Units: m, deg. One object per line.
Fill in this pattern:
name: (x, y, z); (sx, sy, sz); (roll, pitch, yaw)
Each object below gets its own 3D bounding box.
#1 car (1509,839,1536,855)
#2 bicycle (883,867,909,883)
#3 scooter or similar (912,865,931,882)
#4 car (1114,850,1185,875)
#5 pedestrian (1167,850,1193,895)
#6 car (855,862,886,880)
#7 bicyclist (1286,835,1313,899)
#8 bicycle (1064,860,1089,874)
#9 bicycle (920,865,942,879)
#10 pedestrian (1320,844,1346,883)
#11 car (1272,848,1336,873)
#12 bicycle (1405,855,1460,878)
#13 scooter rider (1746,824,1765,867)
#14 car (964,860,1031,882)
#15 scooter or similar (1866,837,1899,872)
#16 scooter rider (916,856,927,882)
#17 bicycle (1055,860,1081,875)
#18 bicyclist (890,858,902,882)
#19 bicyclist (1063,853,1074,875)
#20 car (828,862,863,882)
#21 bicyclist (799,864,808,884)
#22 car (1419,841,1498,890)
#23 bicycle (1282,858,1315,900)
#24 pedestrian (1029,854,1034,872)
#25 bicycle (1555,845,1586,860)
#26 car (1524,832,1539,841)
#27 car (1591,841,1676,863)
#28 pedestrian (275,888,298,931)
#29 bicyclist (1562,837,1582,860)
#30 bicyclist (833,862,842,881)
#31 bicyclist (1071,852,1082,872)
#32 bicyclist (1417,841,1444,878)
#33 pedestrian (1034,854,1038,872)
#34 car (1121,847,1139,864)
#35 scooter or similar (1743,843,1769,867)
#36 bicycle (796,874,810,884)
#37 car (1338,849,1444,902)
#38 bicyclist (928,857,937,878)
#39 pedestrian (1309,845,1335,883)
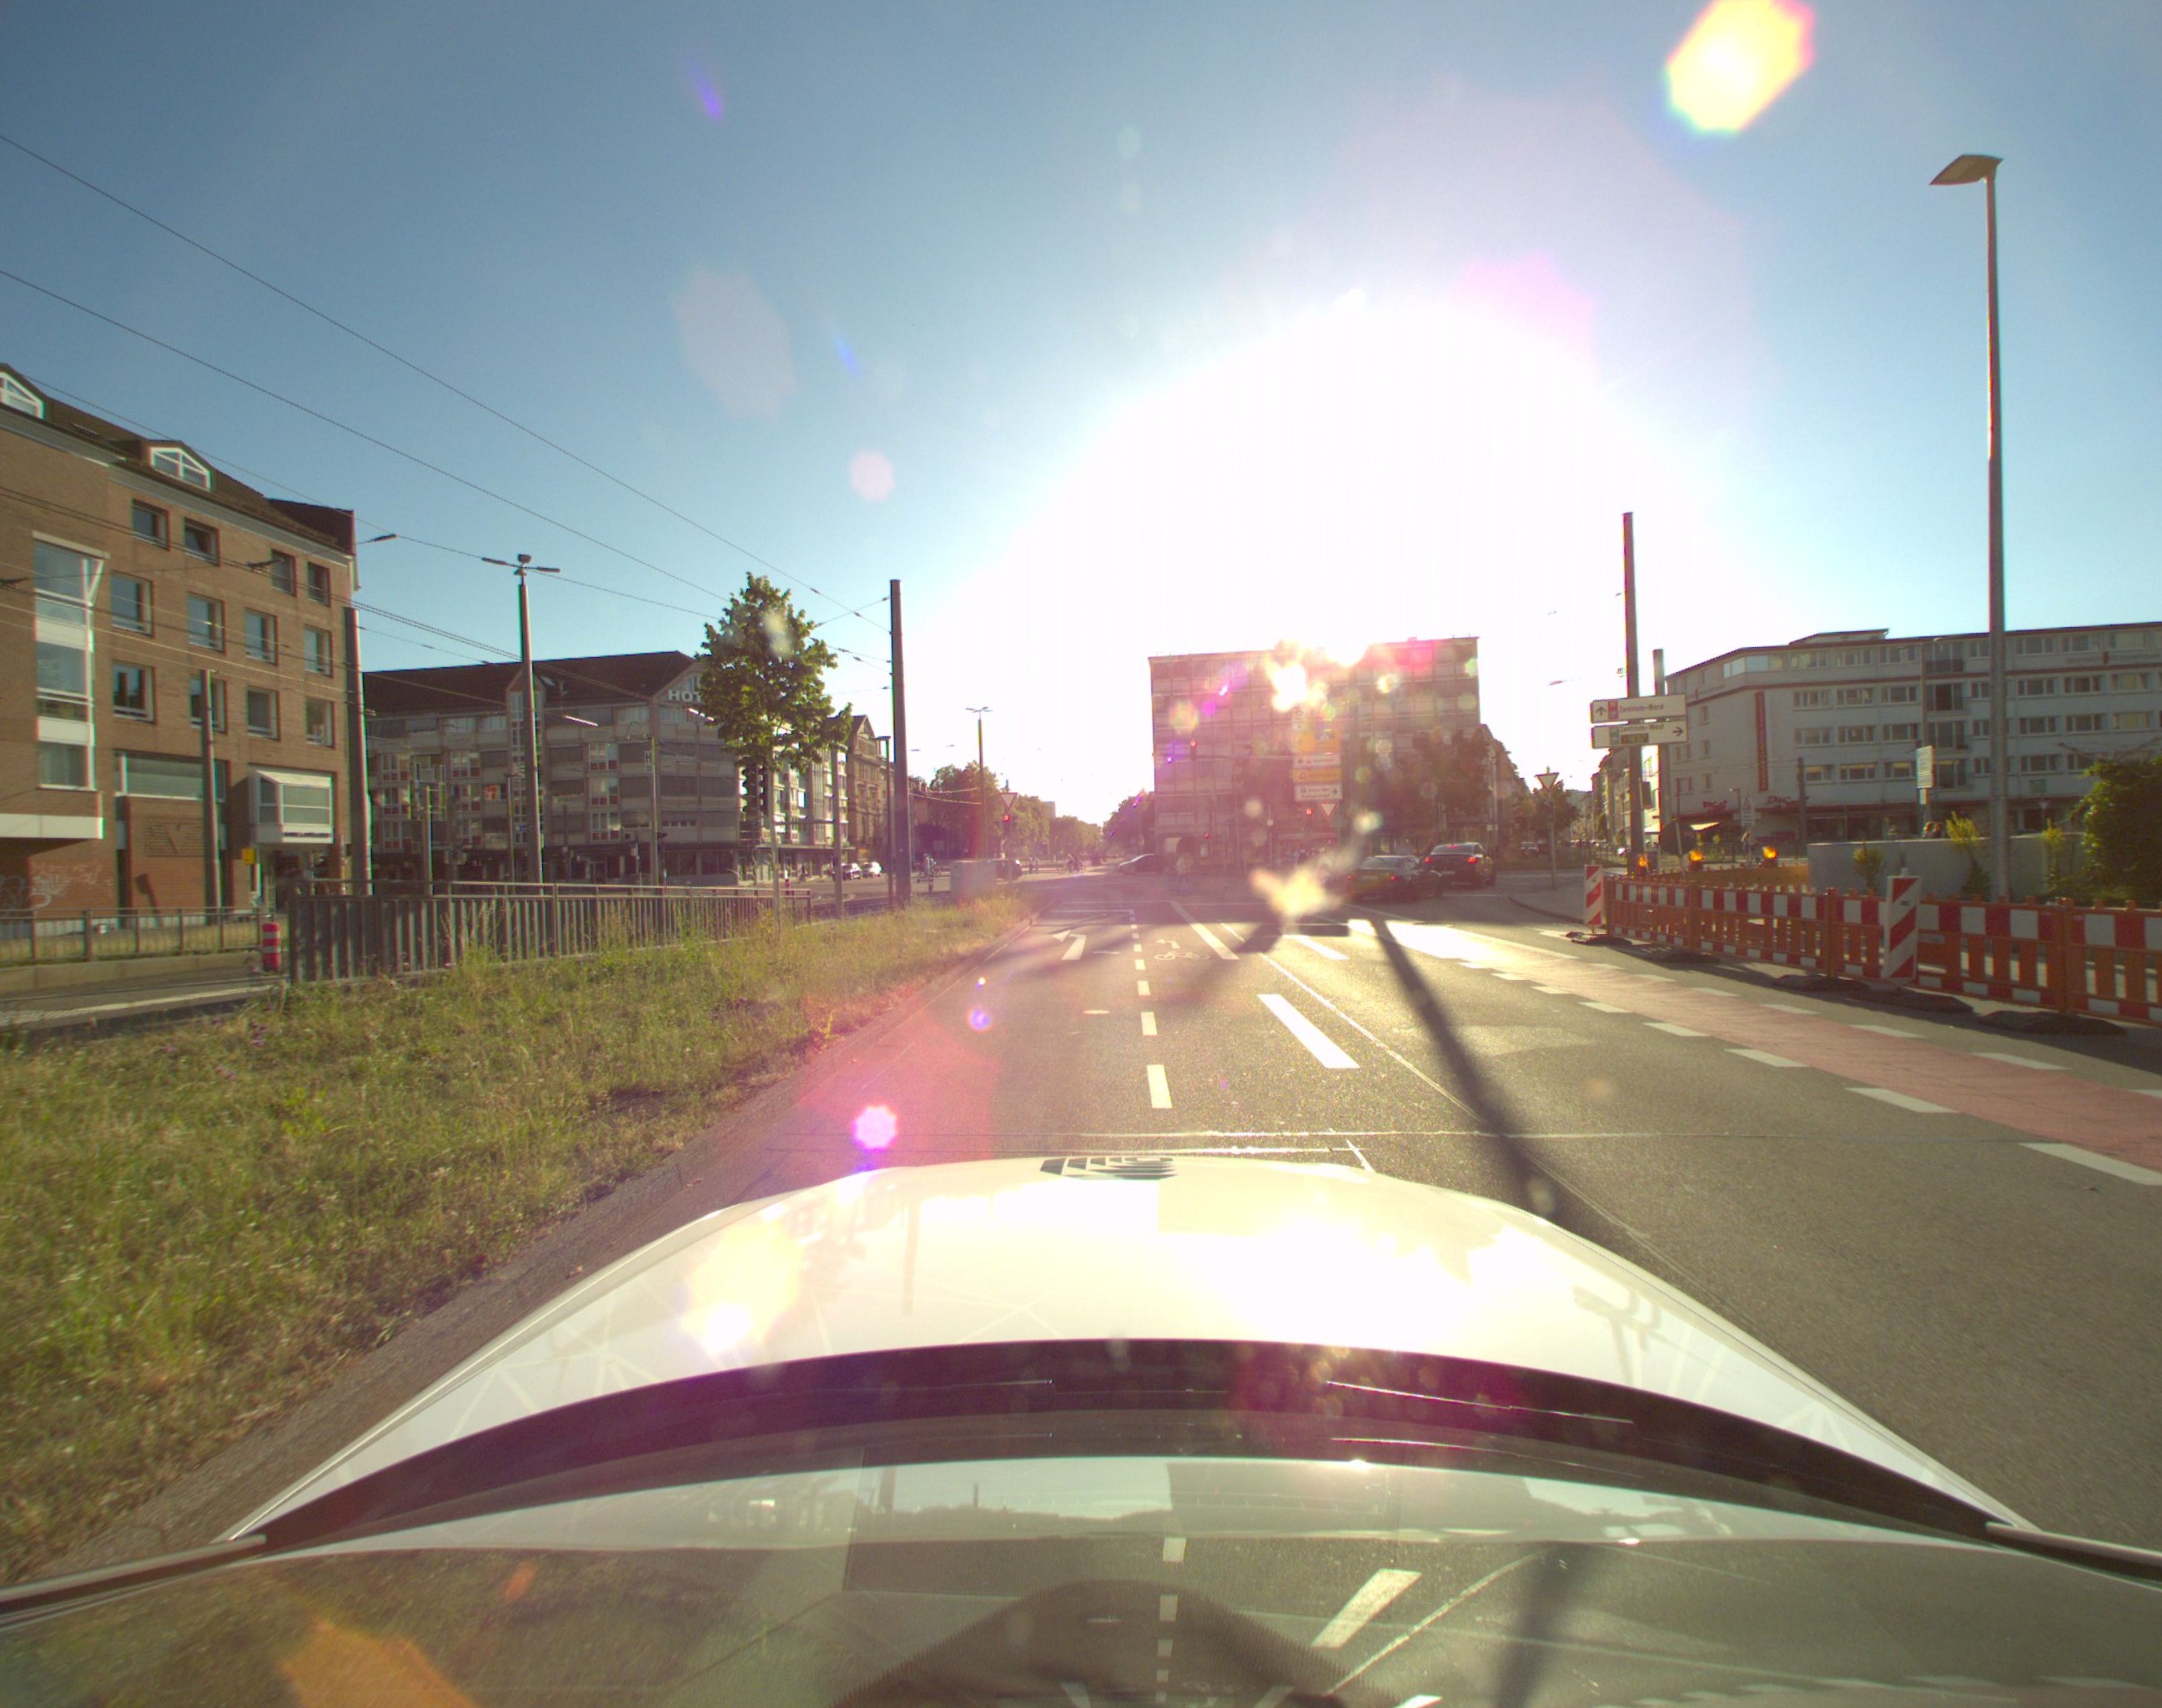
car: (43.417, -0.709, 80.106); (1.975, 1.398, 4.023); (-3, 0, 24)
bicycle: (-13.261, 1.489, 58.415); (1.774, 1.072, 0.534); (-2, 0, -8)
scooter or similar: (-10.963, 1.348, 55.992); (1.170, 1.072, 0.528); (-2, 0, -7)
car: (4.928, 0.616, 58.843); (4.762, 1.596, 1.994); (-2, 0, -9)
pedestrian: (3.654, 0.668, 30.113); (0.875, 1.597, 0.656); (-2, 0, 2)
car: (-23.270, 1.838, 90.232); (1.984, 1.860, 4.006); (-2, 0, 5)
bicyclist: (7.002, 0.410, 26.172); (0.641, 2.013, 1.068); (0, 1, 3)
bicycle: (-0.419, 1.190, 74.186); (2.168, 1.137, 0.658); (-2, 0, -2)
bicycle: (-12.163, 1.430, 66.118); (1.730, 1.059, 0.538); (-2, 0, -8)
pedestrian: (10.749, 0.409, 34.768); (0.875, 1.597, 0.655); (-2, 0, 0)
car: (16.189, 0.454, 59.286); (4.305, 1.596, 2.006); (-2, 0, 10)
bicycle: (16.318, 0.578, 37.866); (2.215, 1.026, 0.683); (-2, 0, 5)
scooter rider: (30.497, -0.380, 36.819); (0.536, 1.920, 0.496); (-2, 0, -33)
car: (-5.558, 1.138, 54.066); (4.017, 1.288, 1.827); (-2, 0, -35)
scooter or similar: (30.114, 0.020, 30.606); (0.563, 1.259, 1.352); (-2, 0, 32)
scooter rider: (-10.975, 1.022, 55.999); (0.663, 1.712, 0.525); (-2, 0, -7)
bicycle: (-1.047, 1.117, 67.266); (2.088, 1.137, 0.658); (-2, 0, -2)
bicyclist: (-13.263, 1.123, 58.414); (0.663, 1.712, 0.537); (-2, 0, -7)
bicyclist: (-1.042, 0.809, 67.269); (0.896, 1.753, 0.654); (-2, 0, -2)
car: (-23.767, 1.787, 82.269); (1.984, 1.860, 4.006); (-2, 0, 5)
bicyclist: (-26.637, 1.940, 78.211); (0.590, 1.862, 0.642); (-2, 0, 4)
car: (14.273, 0.367, 30.673); (1.974, 1.693, 4.026); (0, 1, 35)
bicycle: (6.996, 0.776, 26.262); (0.642, 1.223, 2.050); (0, 2, 3)
pedestrian: (-4.318, 0.791, 71.447); (0.365, 1.508, 0.542); (-2, 0, -4)
bicycle: (38.039, -0.129, 63.270); (1.967, 1.098, 0.677); (-2, 0, -2)
car: (72.925, -2.828, 131.879); (1.974, 1.398, 4.025); (-3, 0, 29)
car: (40.448, -0.147, 59.771); (4.876, 1.479, 2.011); (-2, 0, 23)
pedestrian: (-34.250, 2.374, 35.124); (0.495, 1.807, 0.546); (-3, 0, 30)
bicyclist: (38.174, -0.412, 63.306); (1.037, 1.739, 0.677); (-2, 0, -2)
bicyclist: (-25.731, 1.837, 86.158); (0.599, 2.013, 0.780); (-2, 0, 6)
bicyclist: (-0.410, 0.748, 74.186); (0.896, 1.753, 0.650); (-2, 0, -2)
bicyclist: (16.246, 0.243, 37.867); (0.954, 1.661, 0.692); (-2, 0, 6)
pedestrian: (-3.986, 0.804, 72.046); (0.365, 1.508, 0.542); (-2, 0, -4)
car: (7.504, 0.297, 124.149); (2.476, 2.392, 5.937); (-4, -1, 2)
scooter or similar: (30.520, 0.062, 36.819); (1.392, 1.033, 0.489); (-2, 0, -33)
bicycle: (-26.631, 2.417, 78.082); (0.595, 0.915, 1.838); (-2, 0, 4)
car: (9.571, 0.616, 24.993); (1.727, 1.426, 4.025); (-2, 0, 41)
bicyclist: (-12.063, 1.092, 66.133); (0.663, 1.712, 0.537); (-2, 0, -7)
pedestrian: (10.505, 0.438, 35.469); (0.875, 1.597, 0.655); (-2, 0, 0)
